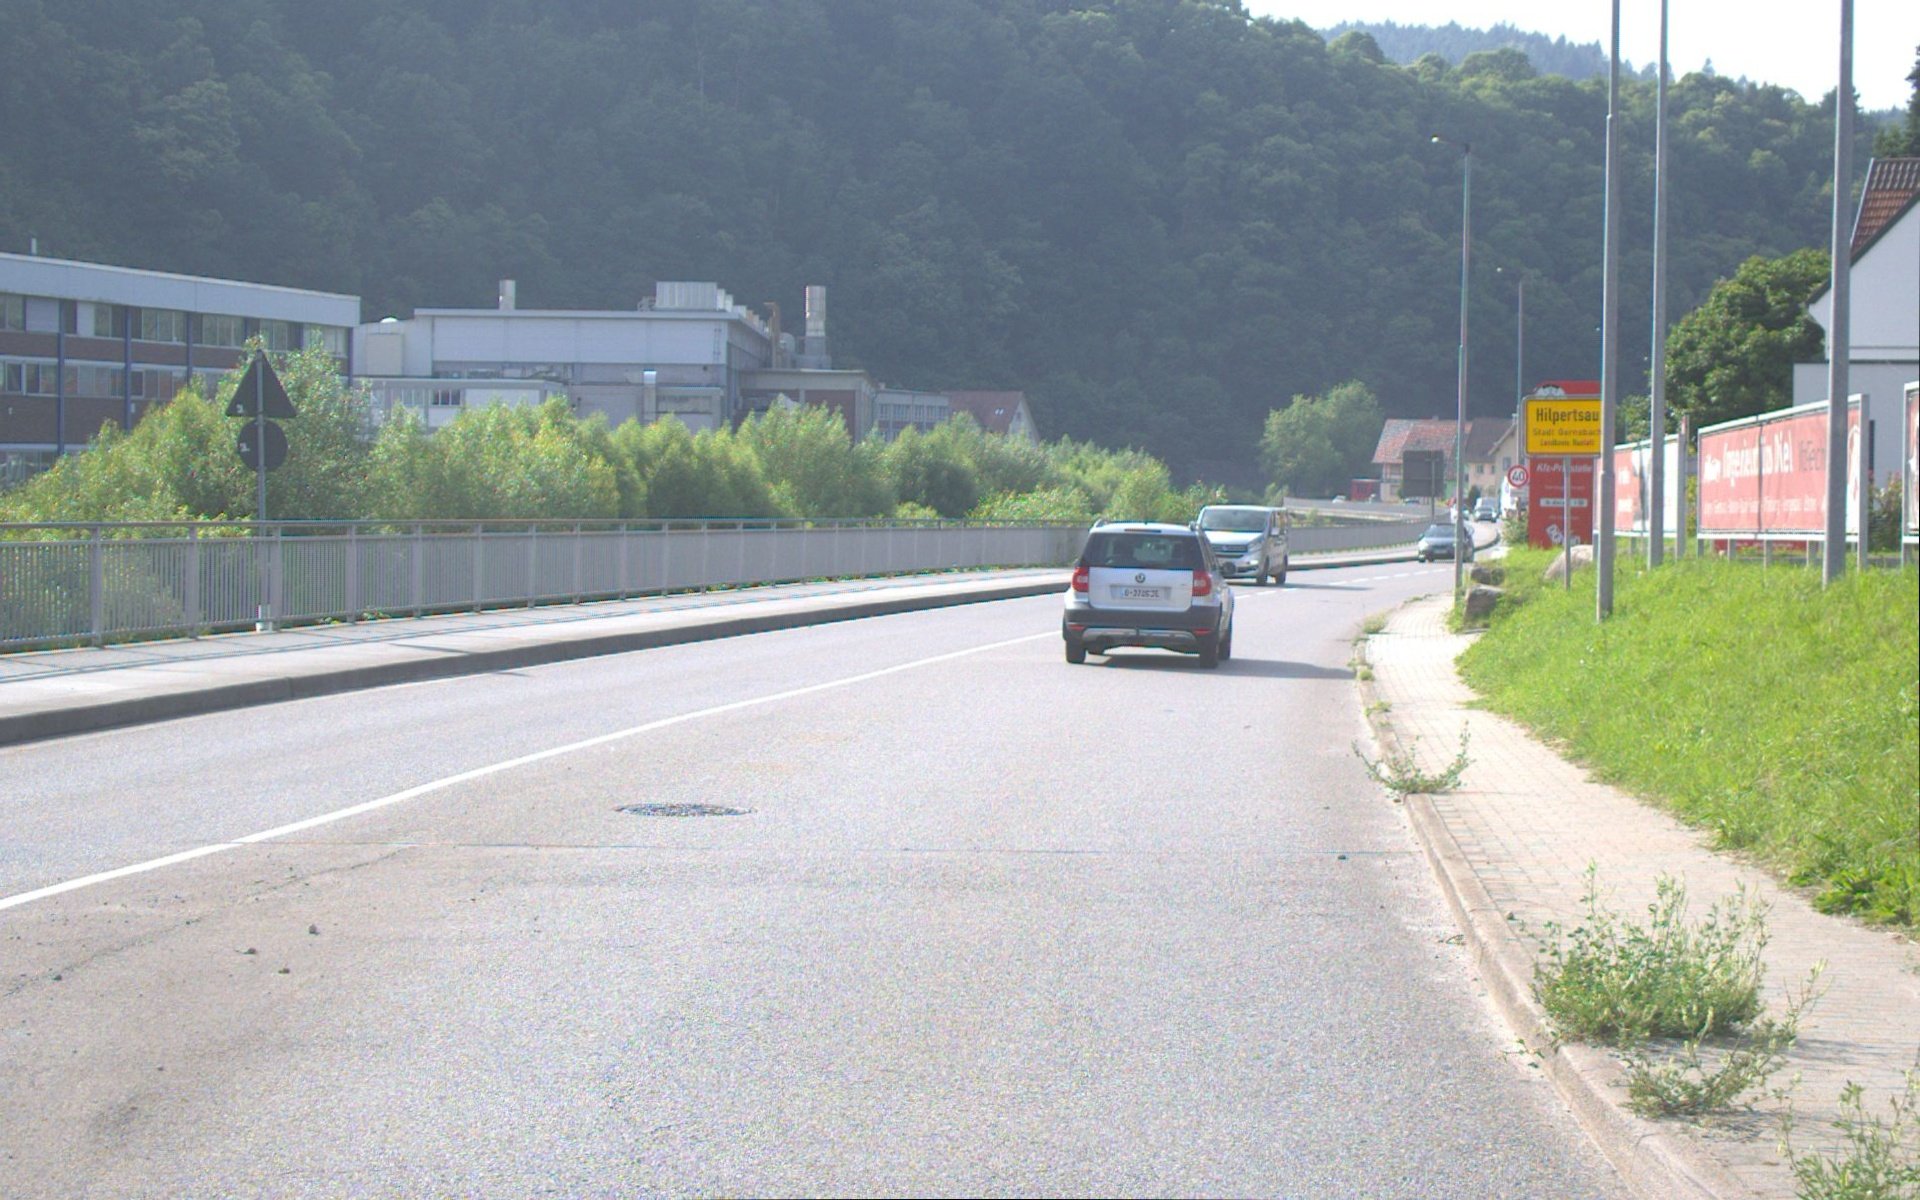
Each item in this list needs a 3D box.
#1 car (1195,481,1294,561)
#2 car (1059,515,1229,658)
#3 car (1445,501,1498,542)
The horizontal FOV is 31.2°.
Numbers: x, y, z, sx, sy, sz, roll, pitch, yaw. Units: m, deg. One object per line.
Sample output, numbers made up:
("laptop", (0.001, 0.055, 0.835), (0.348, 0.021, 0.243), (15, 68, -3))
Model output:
("car", (7.192, -1.969, 86.536), (1.921, 1.961, 5.144), (0, 1, 11))
("car", (2.190, -0.202, 40.630), (1.861, 1.539, 4.373), (1, 2, 4))
("car", (19.406, -2.952, 130.384), (1.814, 1.479, 4.796), (1, 1, 10))
